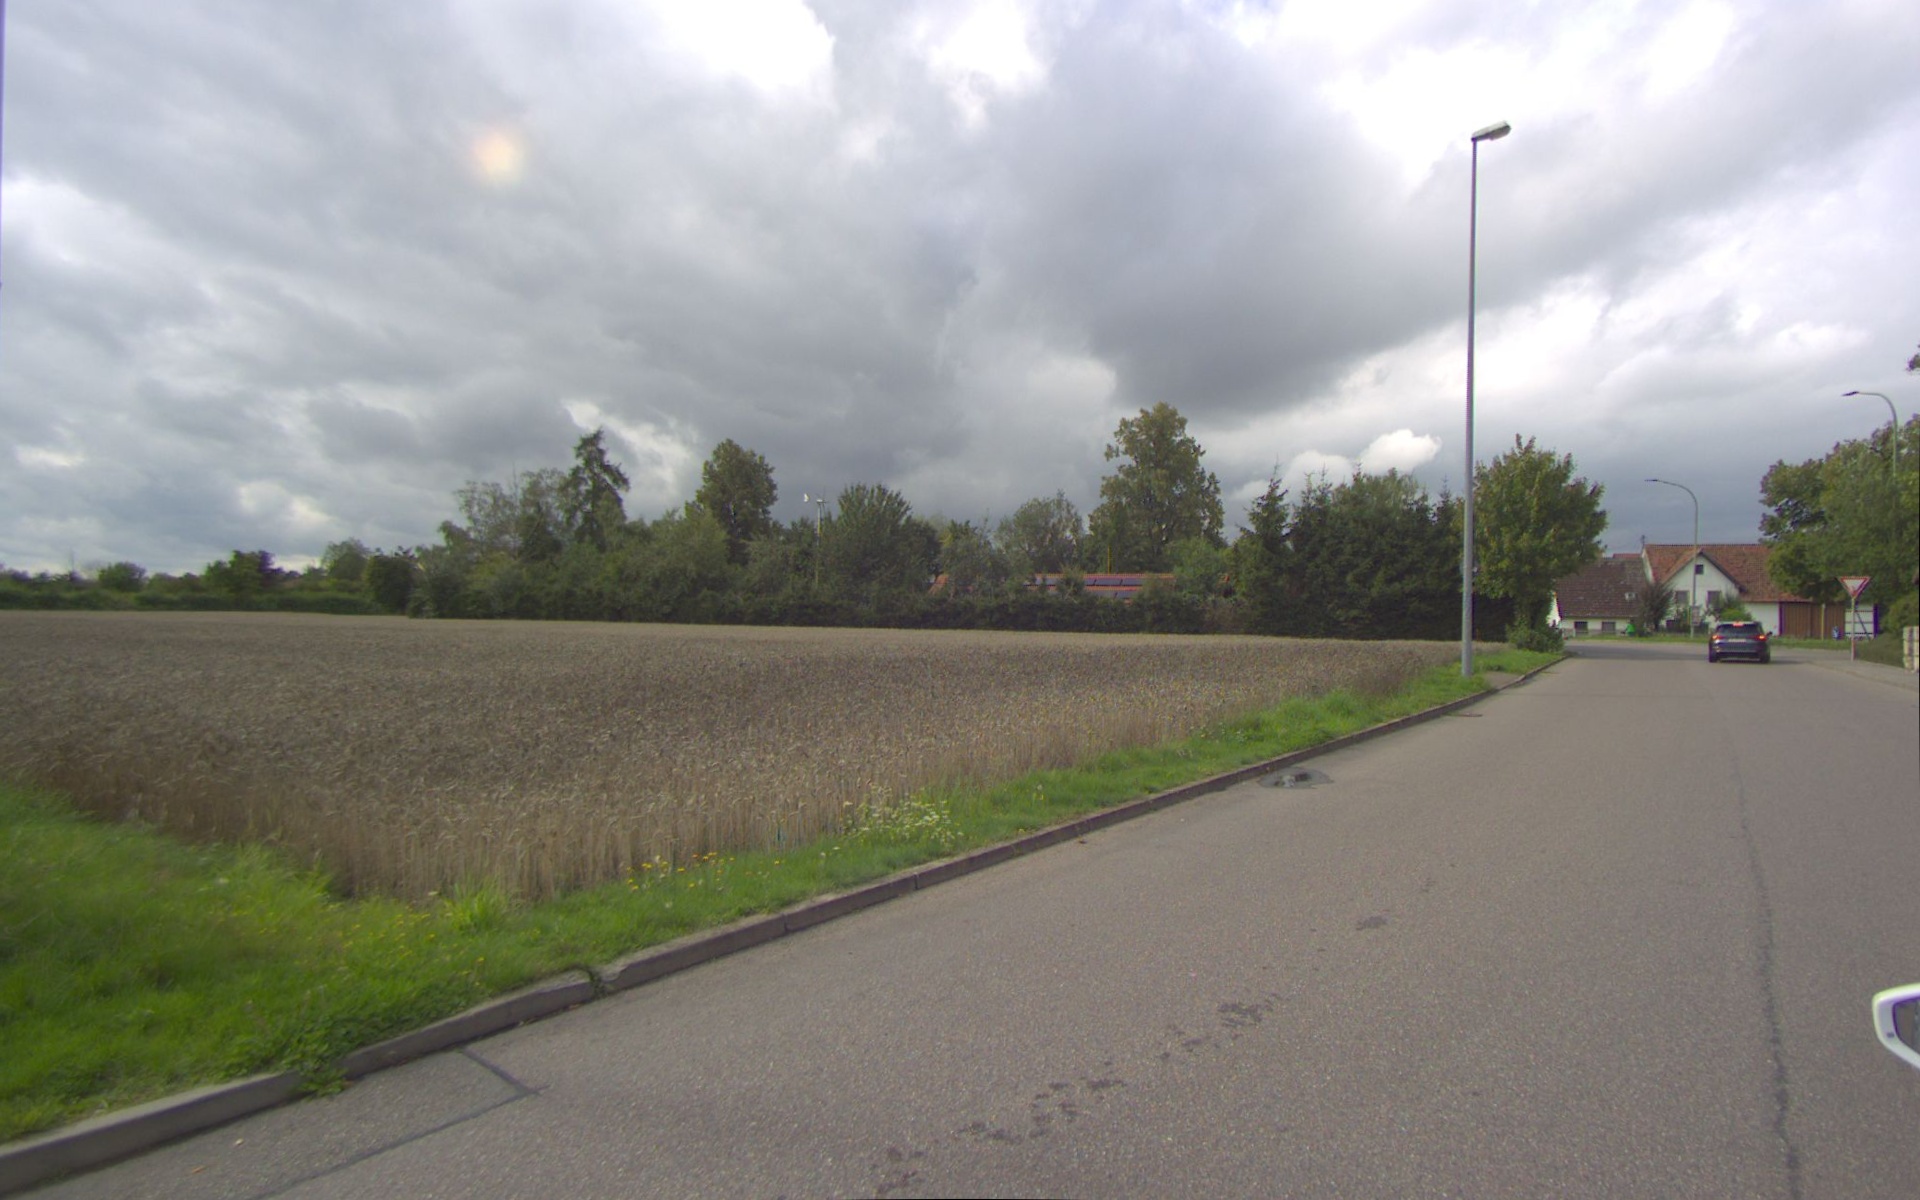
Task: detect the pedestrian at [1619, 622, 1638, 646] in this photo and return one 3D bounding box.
[{"bbox_3d":[48.078,2.451,72.196,0.775,1.687,0.712,5,0,3],"label":"pedestrian"}]

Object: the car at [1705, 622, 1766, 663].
[{"bbox_3d":[30.139,1.614,39.118,1.775,1.481,3.648,0,-1,36],"label":"car"}]
